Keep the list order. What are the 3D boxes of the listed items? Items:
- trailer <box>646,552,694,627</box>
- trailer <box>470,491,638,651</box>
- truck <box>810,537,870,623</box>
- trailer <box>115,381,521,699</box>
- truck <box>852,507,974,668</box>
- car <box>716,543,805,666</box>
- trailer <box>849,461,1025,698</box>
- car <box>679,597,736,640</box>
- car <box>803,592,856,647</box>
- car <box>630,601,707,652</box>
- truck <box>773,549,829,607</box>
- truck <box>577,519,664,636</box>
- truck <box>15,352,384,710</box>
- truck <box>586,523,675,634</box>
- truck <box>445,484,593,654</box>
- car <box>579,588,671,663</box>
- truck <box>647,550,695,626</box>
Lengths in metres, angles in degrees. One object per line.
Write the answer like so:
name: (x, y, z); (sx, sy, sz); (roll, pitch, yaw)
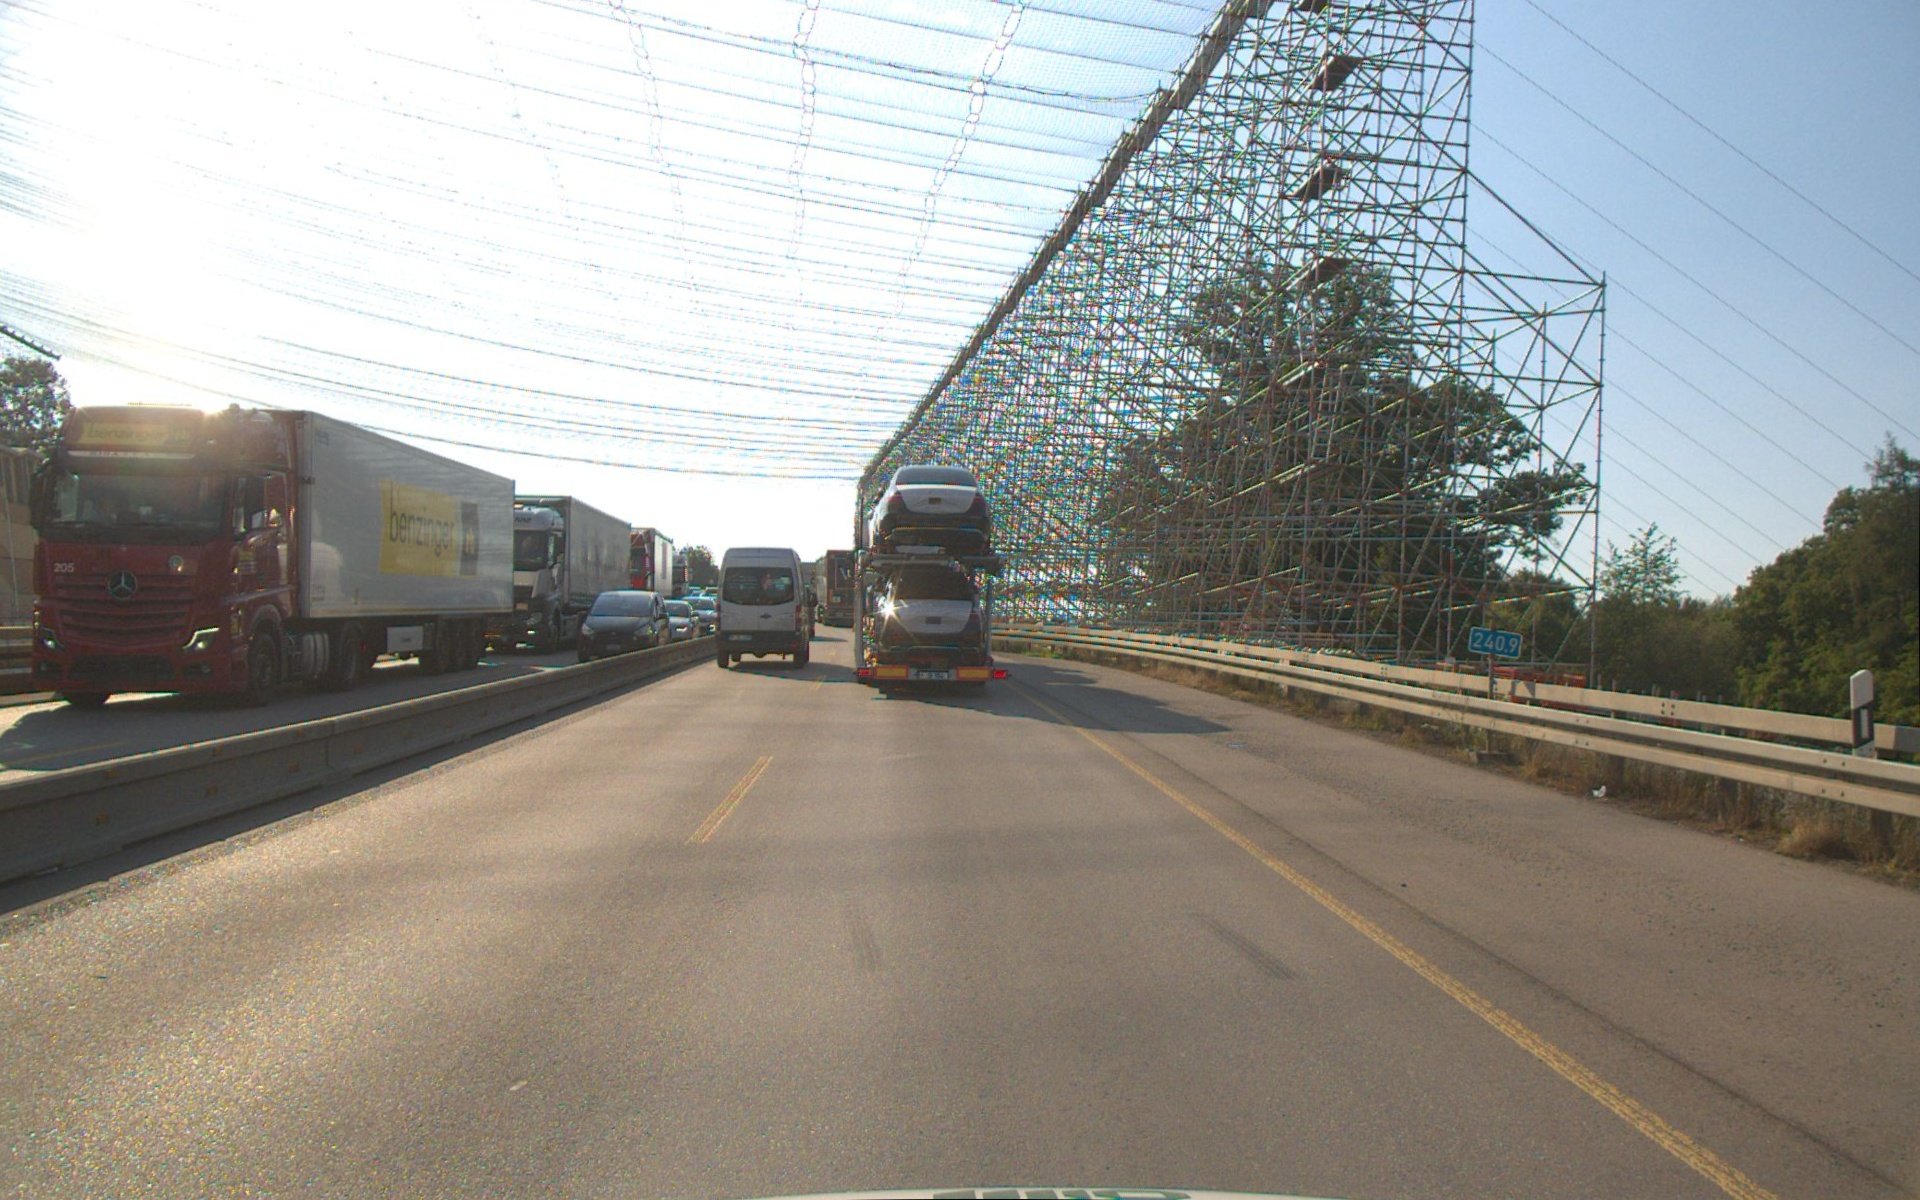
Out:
trailer: (-18.017, -0.662, 103.453); (2.605, 4.307, 13.890); (2, 0, -9)
trailer: (-12.139, -0.728, 50.968); (2.744, 4.214, 13.953); (1, 0, -4)
truck: (-6.882, -1.086, 93.518); (2.680, 4.462, 11.504); (2, 0, -7)
trailer: (-10.811, -0.794, 30.077); (2.711, 4.409, 13.870); (1, 0, -4)
truck: (-1.346, -0.278, 42.883); (2.825, 3.767, 7.319); (1, 0, -4)
car: (-4.510, 0.116, 37.824); (1.919, 2.667, 3.995); (0, -1, -6)
trailer: (-0.790, -0.291, 34.165); (2.812, 3.790, 14.936); (1, 0, -3)
car: (-9.759, 0.704, 64.232); (1.698, 1.464, 4.834); (4, -1, -4)
car: (-5.136, 0.753, 64.969); (1.955, 2.049, 3.995); (1, -1, -5)
car: (-8.712, 0.760, 49.754); (1.697, 1.401, 4.887); (3, 0, -4)
truck: (-12.606, -1.733, 132.099); (3.613, 4.294, 13.661); (-2, 0, -3)
truck: (-12.899, -0.797, 63.363); (2.735, 4.214, 6.667); (1, 0, -8)
truck: (-10.393, -0.825, 23.358); (2.690, 4.375, 5.929); (1, 0, -4)
truck: (-13.743, -0.777, 69.894); (2.735, 4.214, 13.784); (1, 0, -8)
truck: (-11.638, -0.757, 44.197); (2.733, 4.214, 5.928); (1, 0, -5)
car: (-8.025, 0.573, 39.951); (1.718, 1.686, 4.856); (1, 0, -6)
truck: (-16.874, -0.674, 96.586); (2.614, 4.304, 6.090); (1, 0, -10)
